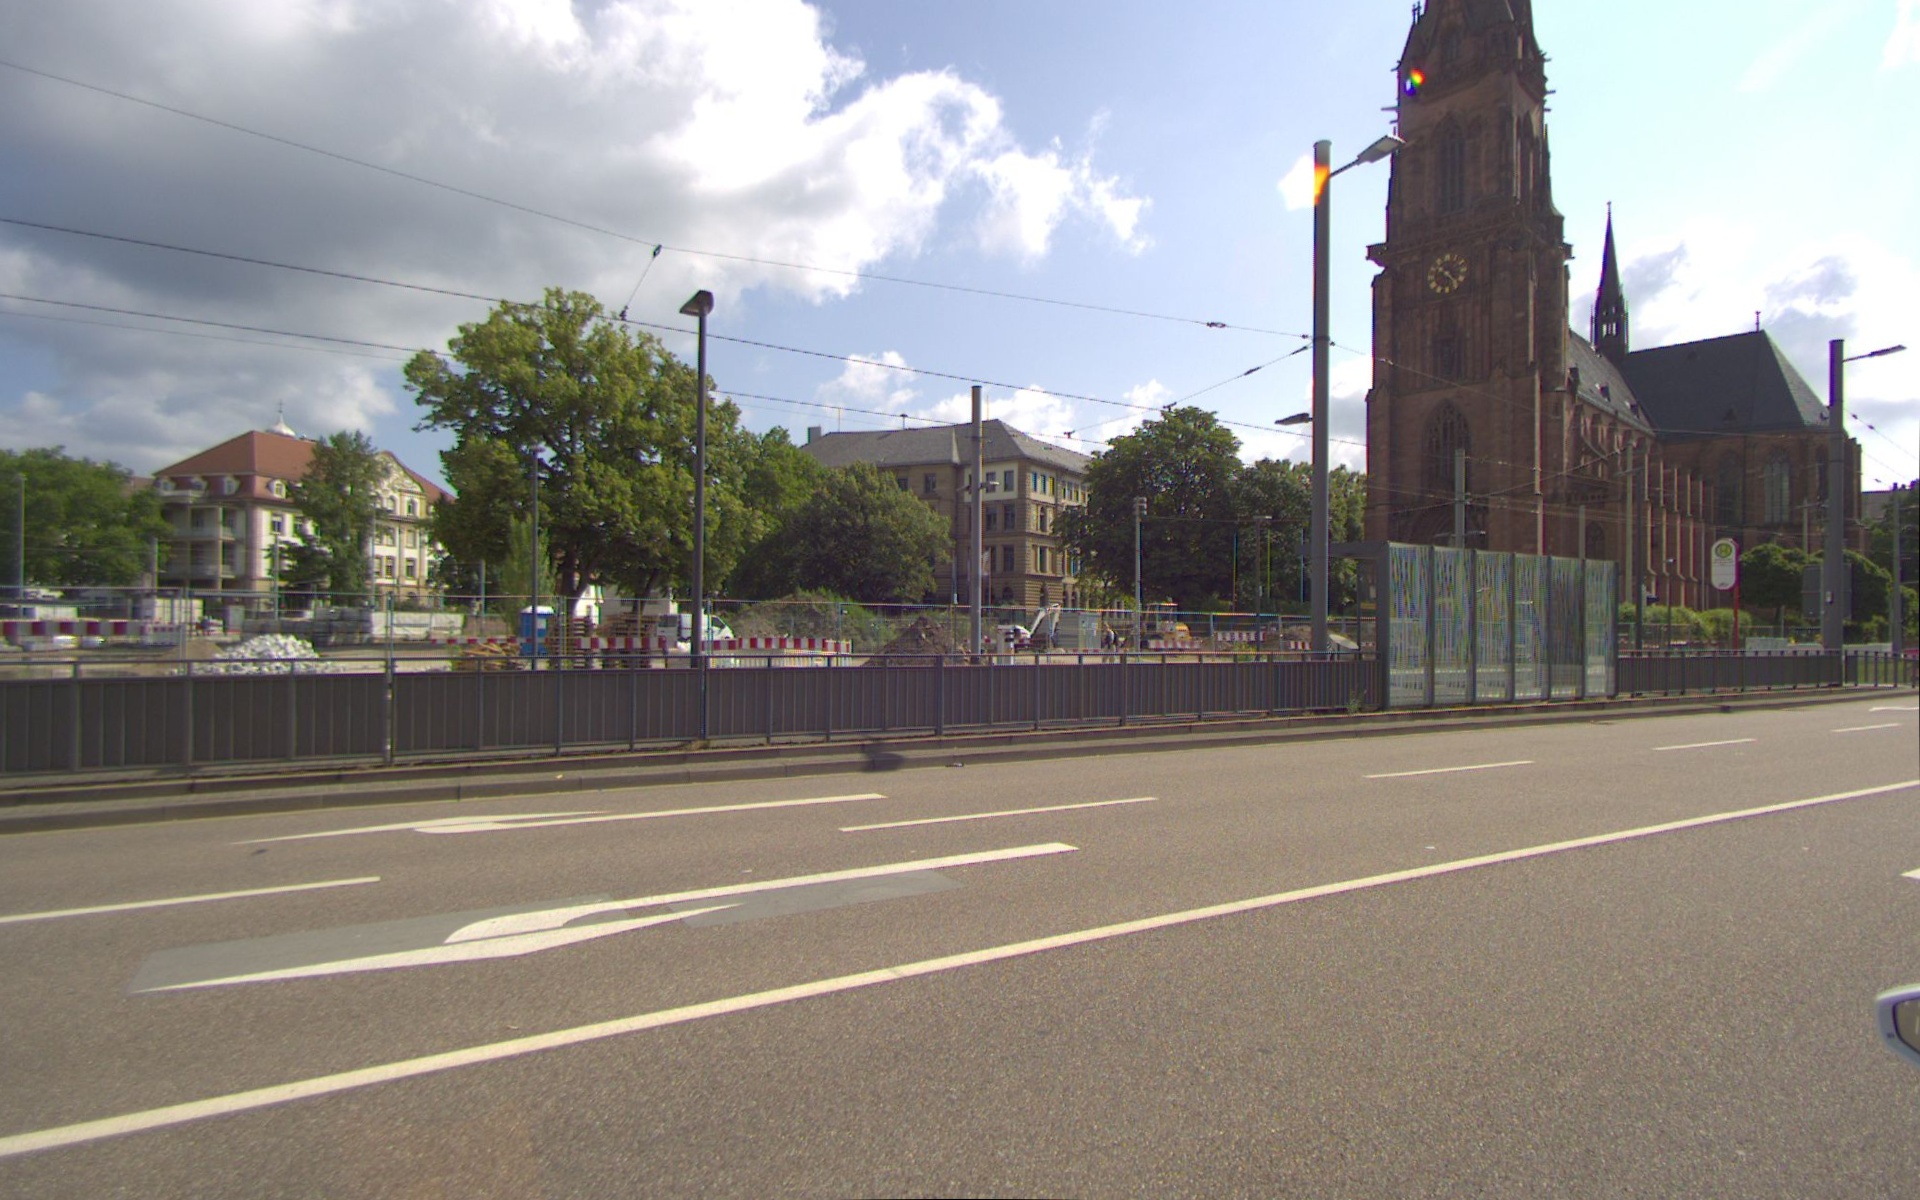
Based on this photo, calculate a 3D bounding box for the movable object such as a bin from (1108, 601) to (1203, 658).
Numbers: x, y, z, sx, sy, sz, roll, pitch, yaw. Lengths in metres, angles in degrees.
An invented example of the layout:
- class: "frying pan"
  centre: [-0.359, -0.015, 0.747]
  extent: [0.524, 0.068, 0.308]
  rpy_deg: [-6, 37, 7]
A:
- class: "movable object such as a bin"
  centre: [10.572, 1.593, 54.675]
  extent: [1.982, 2.950, 5.100]
  rpy_deg: [1, -2, -37]

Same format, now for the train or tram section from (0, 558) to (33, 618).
- class: "train or tram section"
  centre: [-58.675, -0.667, 55.731]
  extent: [3.257, 3.527, 10.613]
  rpy_deg: [-1, 0, 13]

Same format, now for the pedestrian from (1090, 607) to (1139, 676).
- class: "pedestrian"
  centre: [4.626, 1.241, 30.162]
  extent: [1.037, 2.040, 1.062]
  rpy_deg: [1, -2, -27]

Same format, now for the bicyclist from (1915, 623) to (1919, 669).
- class: "bicyclist"
  centre: [30.815, 1.455, 31.439]
  extent: [0.812, 1.455, 1.087]
  rpy_deg: [1, -2, -21]

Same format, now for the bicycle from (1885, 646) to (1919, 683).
- class: "bicycle"
  centre: [30.673, 2.051, 31.663]
  extent: [0.917, 1.141, 2.016]
  rpy_deg: [1, -2, -20]

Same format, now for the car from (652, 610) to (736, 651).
- class: "car"
  centre: [-14.810, 1.670, 56.183]
  extent: [1.905, 2.166, 4.638]
  rpy_deg: [0, 0, 28]

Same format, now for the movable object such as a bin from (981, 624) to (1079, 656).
- class: "movable object such as a bin"
  centre: [3.540, 1.998, 50.155]
  extent: [5.120, 1.522, 1.974]
  rpy_deg: [2, -2, -44]
